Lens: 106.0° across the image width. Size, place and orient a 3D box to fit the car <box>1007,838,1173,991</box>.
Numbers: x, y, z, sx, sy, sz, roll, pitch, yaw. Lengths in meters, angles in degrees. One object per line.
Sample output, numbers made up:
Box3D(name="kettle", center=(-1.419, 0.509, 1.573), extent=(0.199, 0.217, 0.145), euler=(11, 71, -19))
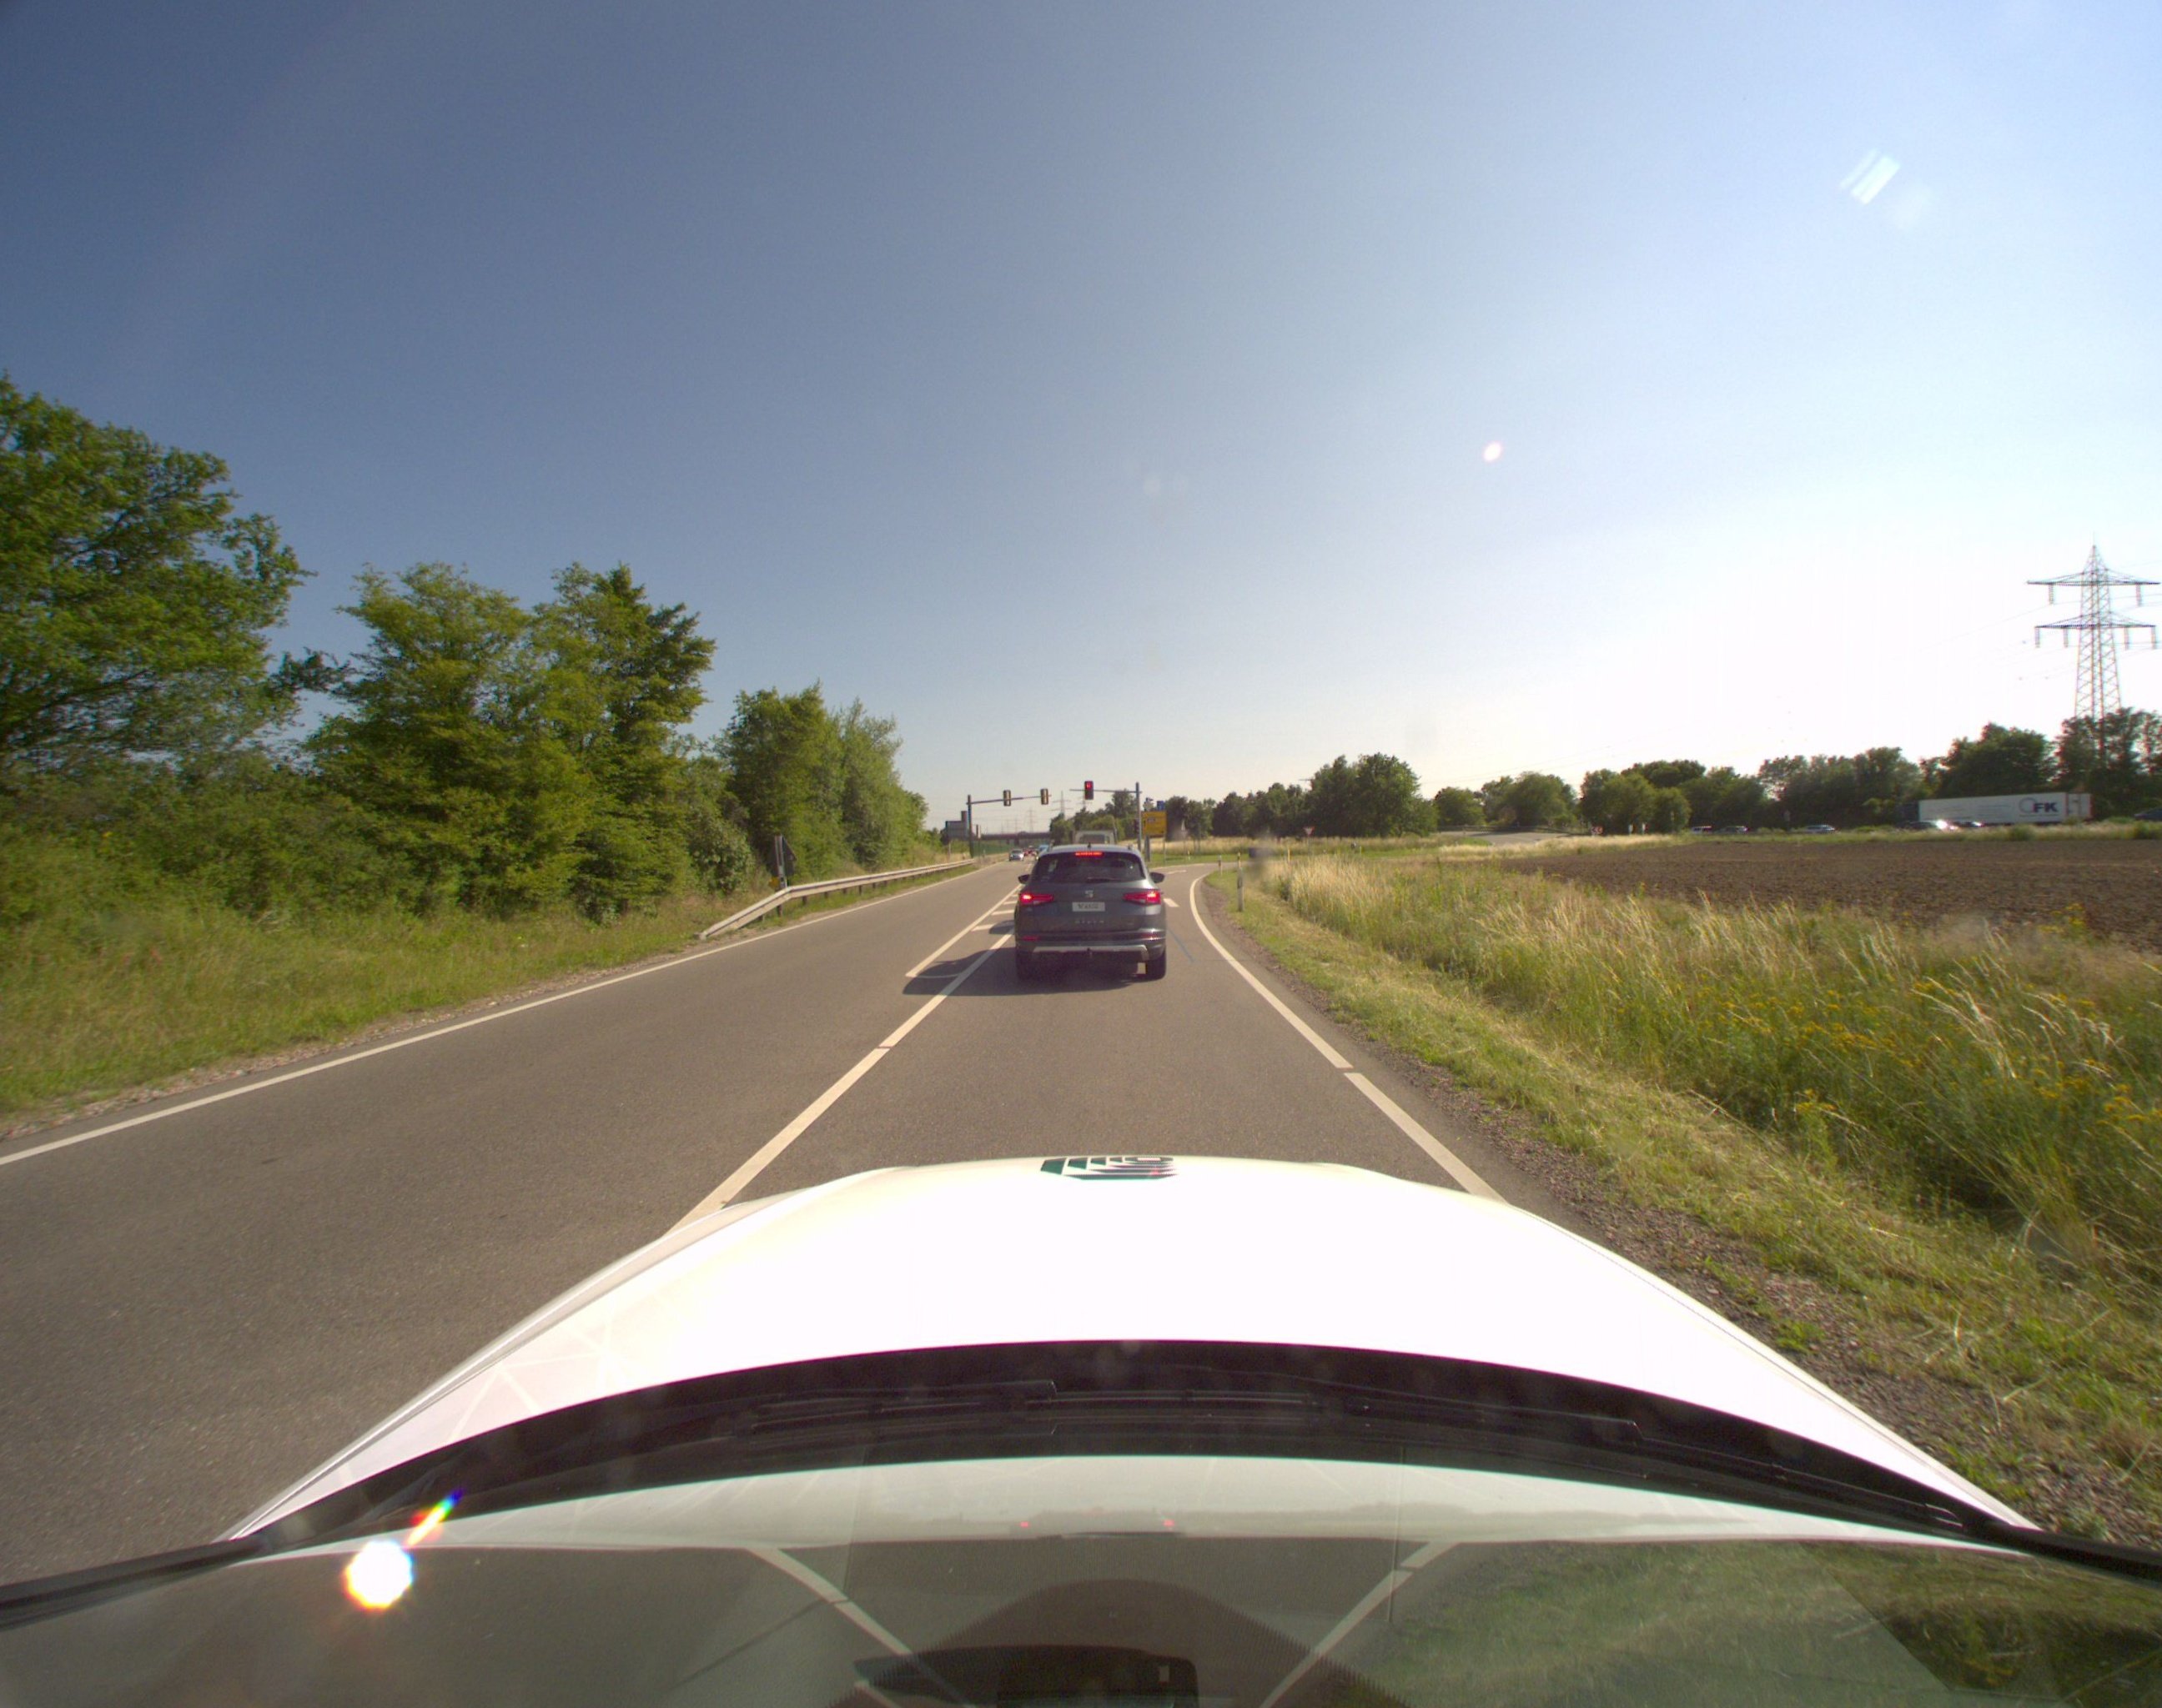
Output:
Box3D(name="car", center=(0.091, 0.634, 10.953), extent=(1.780, 1.629, 3.999), euler=(-2, 1, -1))

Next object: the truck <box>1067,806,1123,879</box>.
Box3D(name="truck", center=(0.638, -0.495, 37.735), extent=(2.329, 3.066, 5.810), euler=(-1, 0, 1))

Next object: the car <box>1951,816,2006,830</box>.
Box3D(name="car", center=(93.394, -3.194, 84.758), extent=(1.765, 1.372, 3.624), euler=(0, 0, 0))

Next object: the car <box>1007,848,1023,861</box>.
Box3D(name="car", center=(-8.074, 0.067, 100.157), extent=(1.821, 1.431, 3.994), euler=(-2, 1, -4))

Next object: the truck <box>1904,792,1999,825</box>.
Box3D(name="truck", center=(99.103, -5.125, 92.897), extent=(3.275, 3.267, 6.975), euler=(-3, 0, -1))

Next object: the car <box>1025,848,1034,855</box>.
Box3D(name="car", center=(-10.999, -0.452, 173.598), extent=(1.758, 1.431, 3.994), euler=(-2, 1, -4))

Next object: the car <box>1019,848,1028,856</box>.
Box3D(name="car", center=(-10.991, -0.306, 155.753), extent=(1.758, 1.431, 3.994), euler=(-2, 1, -4))

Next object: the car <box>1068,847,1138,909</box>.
Box3D(name="car", center=(0.562, 0.597, 23.136), extent=(1.780, 1.543, 3.999), euler=(-2, 1, -1))

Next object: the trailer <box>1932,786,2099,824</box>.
Box3D(name="trailer", center=(99.267, -5.098, 87.042), extent=(3.275, 3.267, 12.449), euler=(-3, 0, -1))

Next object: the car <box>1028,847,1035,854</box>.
Box3D(name="car", center=(-15.549, -1.045, 253.762), extent=(1.961, 1.952, 4.987), euler=(-2, 1, -6))

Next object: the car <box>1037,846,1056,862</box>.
Box3D(name="car", center=(-3.473, -0.048, 81.733), extent=(1.813, 1.540, 3.994), euler=(-2, 1, -4))

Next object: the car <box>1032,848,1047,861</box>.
Box3D(name="car", center=(-4.757, 0.036, 94.115), extent=(1.681, 1.380, 3.529), euler=(-1, 1, -4))

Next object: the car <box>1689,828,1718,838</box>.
Box3D(name="car", center=(96.497, -3.249, 126.379), extent=(1.765, 1.372, 3.624), euler=(0, 0, 0))

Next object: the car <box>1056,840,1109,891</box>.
Box3D(name="car", center=(0.048, 0.368, 30.102), extent=(1.780, 1.675, 3.999), euler=(-2, 1, -1))

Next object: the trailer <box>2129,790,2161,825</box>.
Box3D(name="trailer", center=(80.444, -3.378, 52.887), extent=(2.506, 2.531, 17.075), euler=(-3, 1, -1))
